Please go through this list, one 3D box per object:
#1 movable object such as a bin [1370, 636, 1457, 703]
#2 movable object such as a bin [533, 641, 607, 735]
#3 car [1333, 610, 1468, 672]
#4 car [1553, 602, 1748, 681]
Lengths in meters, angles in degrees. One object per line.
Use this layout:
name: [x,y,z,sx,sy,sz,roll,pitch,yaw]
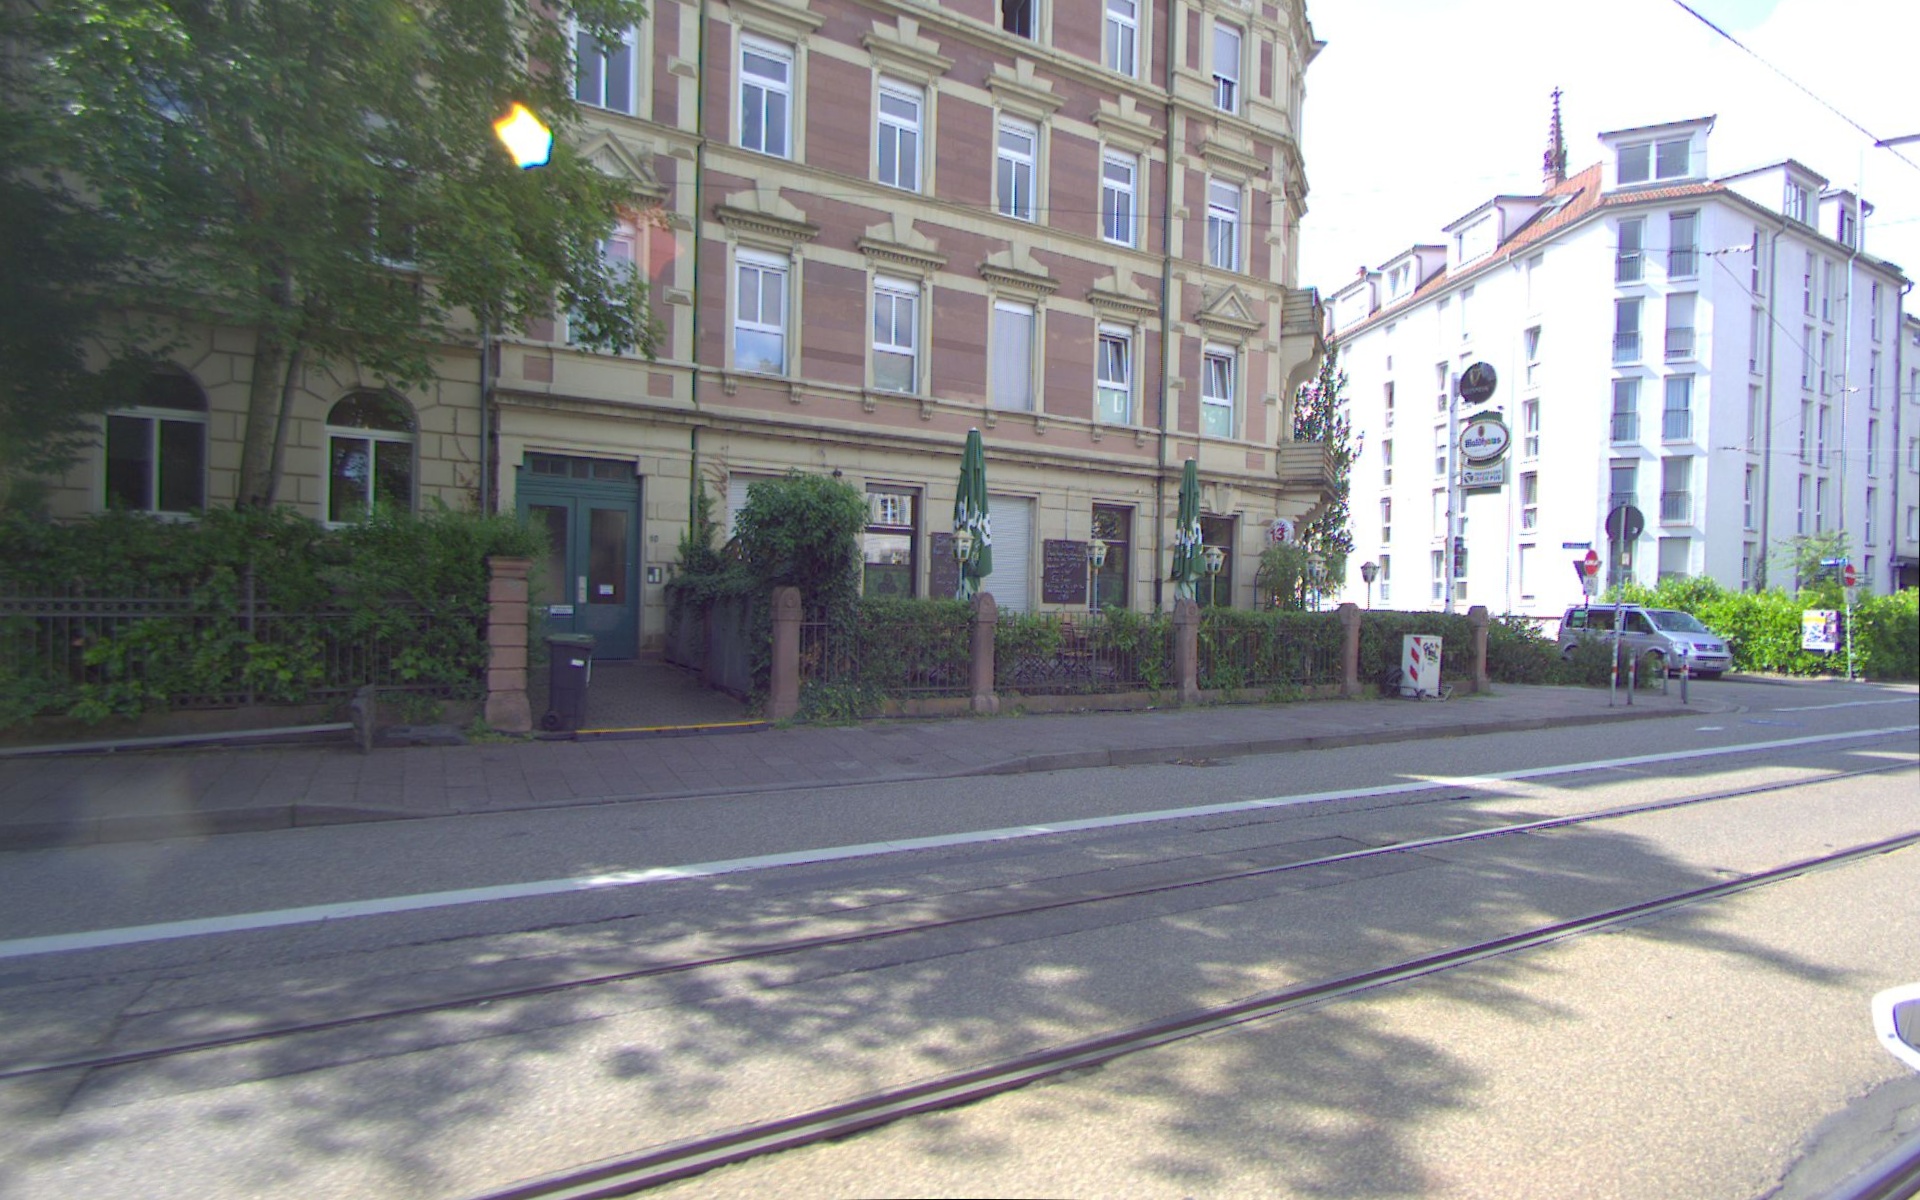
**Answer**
movable object such as a bin: [7.376,1.116,16.340,1.101,1.001,0.741,1,2,-30]
movable object such as a bin: [-3.940,0.867,10.138,0.609,0.888,0.559,1,0,-30]
car: [11.954,1.101,27.319,3.128,1.588,1.391,1,0,-11]
car: [19.770,1.117,29.072,2.009,2.040,4.671,1,0,-8]
